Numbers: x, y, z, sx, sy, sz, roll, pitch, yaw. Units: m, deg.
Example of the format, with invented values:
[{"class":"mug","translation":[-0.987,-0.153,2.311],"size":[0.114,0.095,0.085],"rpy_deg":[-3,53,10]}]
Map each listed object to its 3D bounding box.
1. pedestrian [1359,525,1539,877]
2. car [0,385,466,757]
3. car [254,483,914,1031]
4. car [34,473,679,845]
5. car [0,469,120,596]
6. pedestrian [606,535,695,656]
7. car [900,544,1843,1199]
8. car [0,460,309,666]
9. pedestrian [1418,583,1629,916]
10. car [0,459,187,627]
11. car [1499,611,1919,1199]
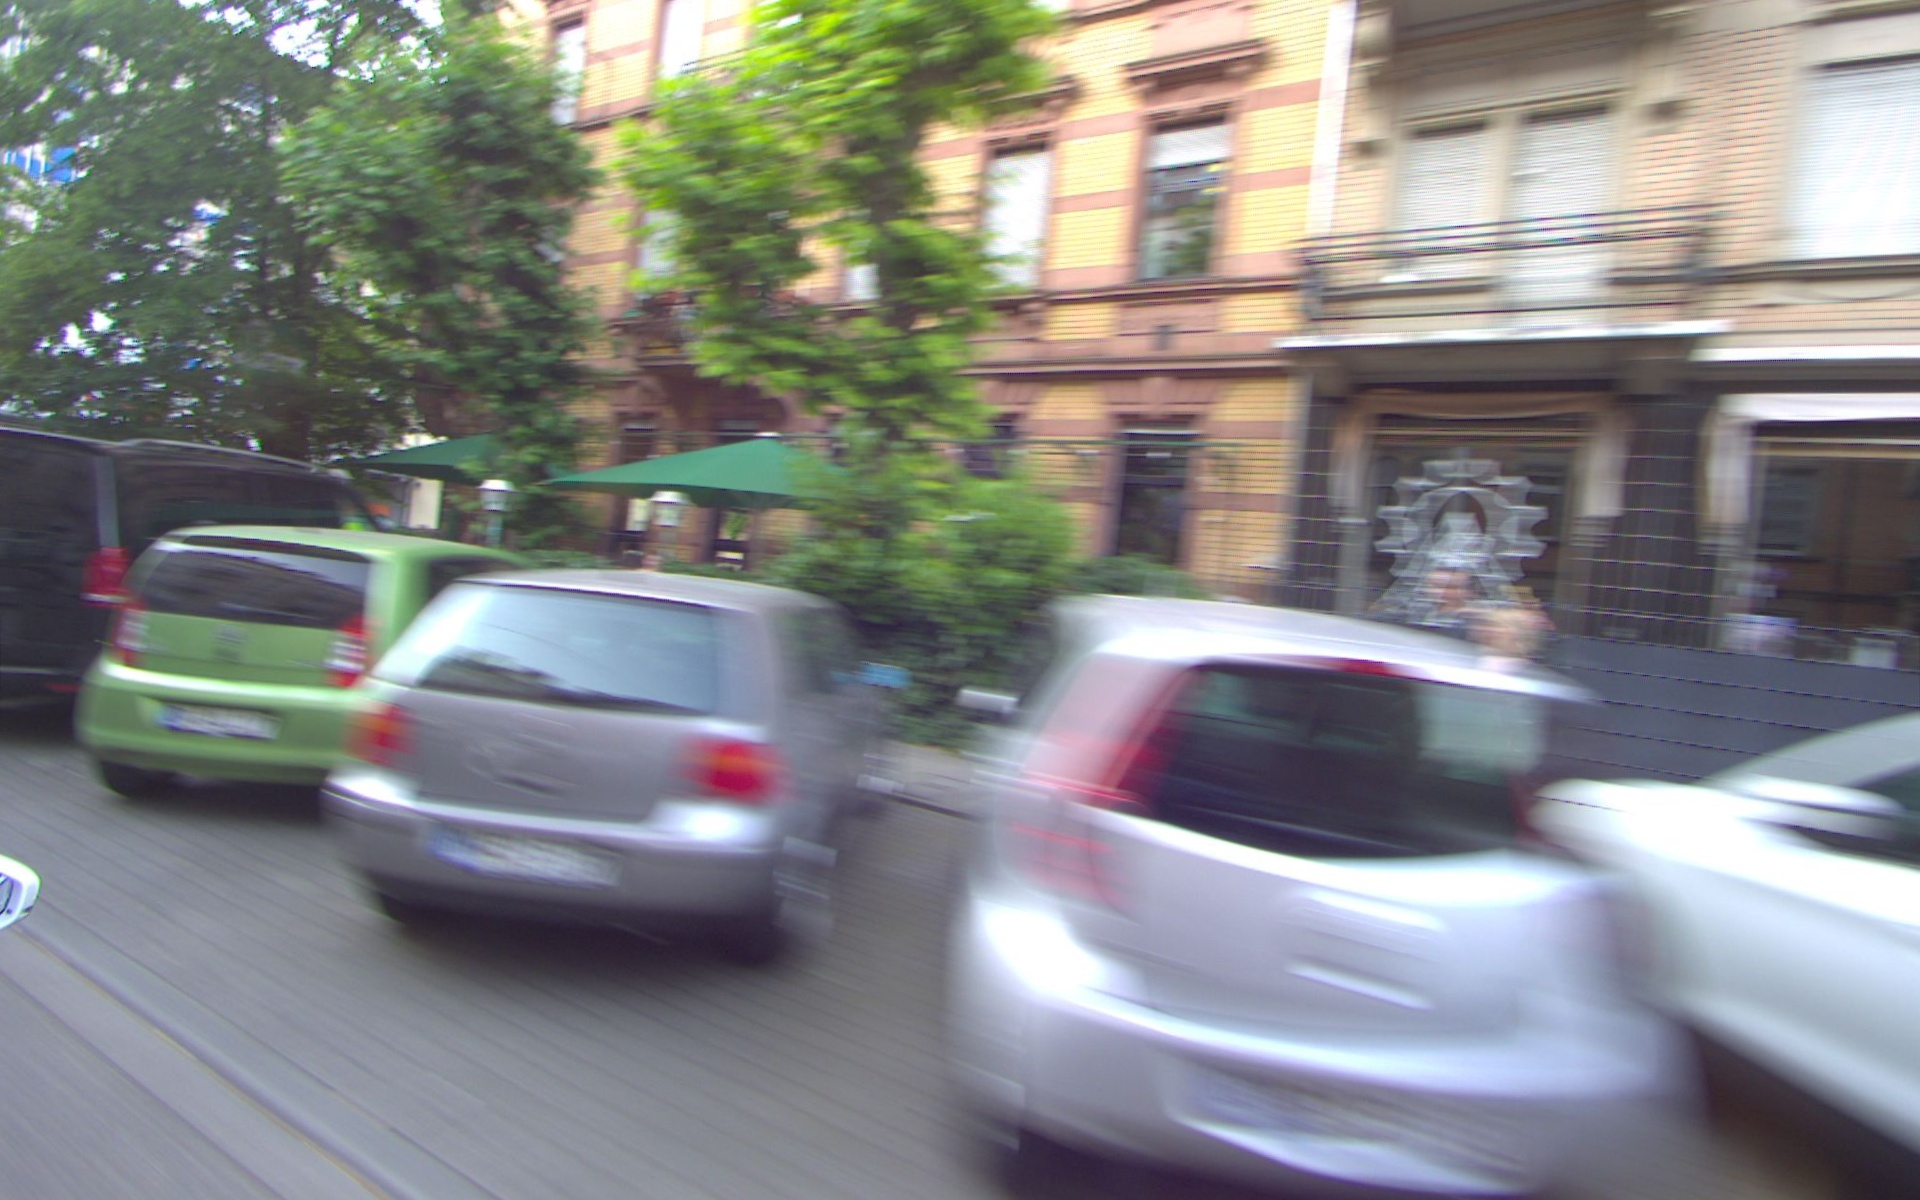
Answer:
[{"class":"pedestrian","translation":[3.059,0.615,6.353],"size":[0.643,2.037,0.626],"rpy_deg":[7,-1,5]},{"class":"car","translation":[-6.239,-0.345,8.433],"size":[1.899,2.100,5.425],"rpy_deg":[6,2,-7]},{"class":"car","translation":[-1.304,0.446,5.257],"size":[1.785,1.572,4.104],"rpy_deg":[6,2,0]},{"class":"car","translation":[-3.438,0.222,6.805],"size":[1.785,1.572,4.104],"rpy_deg":[6,2,0]},{"class":"car","translation":[-13.385,-0.968,12.933],"size":[1.662,1.649,4.045],"rpy_deg":[7,1,0]},{"class":"pedestrian","translation":[-3.819,-0.047,12.423],"size":[0.685,1.382,0.589],"rpy_deg":[6,-1,28]},{"class":"car","translation":[0.810,0.689,4.245],"size":[1.786,1.612,4.100],"rpy_deg":[6,2,-6]},{"class":"car","translation":[-8.669,-0.453,9.810],"size":[1.898,1.644,4.218],"rpy_deg":[6,2,-2]},{"class":"pedestrian","translation":[3.138,0.806,5.656],"size":[0.644,1.700,0.625],"rpy_deg":[7,-1,-3]},{"class":"car","translation":[-10.808,-0.704,10.872],"size":[1.899,1.711,4.215],"rpy_deg":[6,2,-7]},{"class":"car","translation":[3.244,1.012,2.201],"size":[1.785,1.612,4.104],"rpy_deg":[6,2,1]}]
